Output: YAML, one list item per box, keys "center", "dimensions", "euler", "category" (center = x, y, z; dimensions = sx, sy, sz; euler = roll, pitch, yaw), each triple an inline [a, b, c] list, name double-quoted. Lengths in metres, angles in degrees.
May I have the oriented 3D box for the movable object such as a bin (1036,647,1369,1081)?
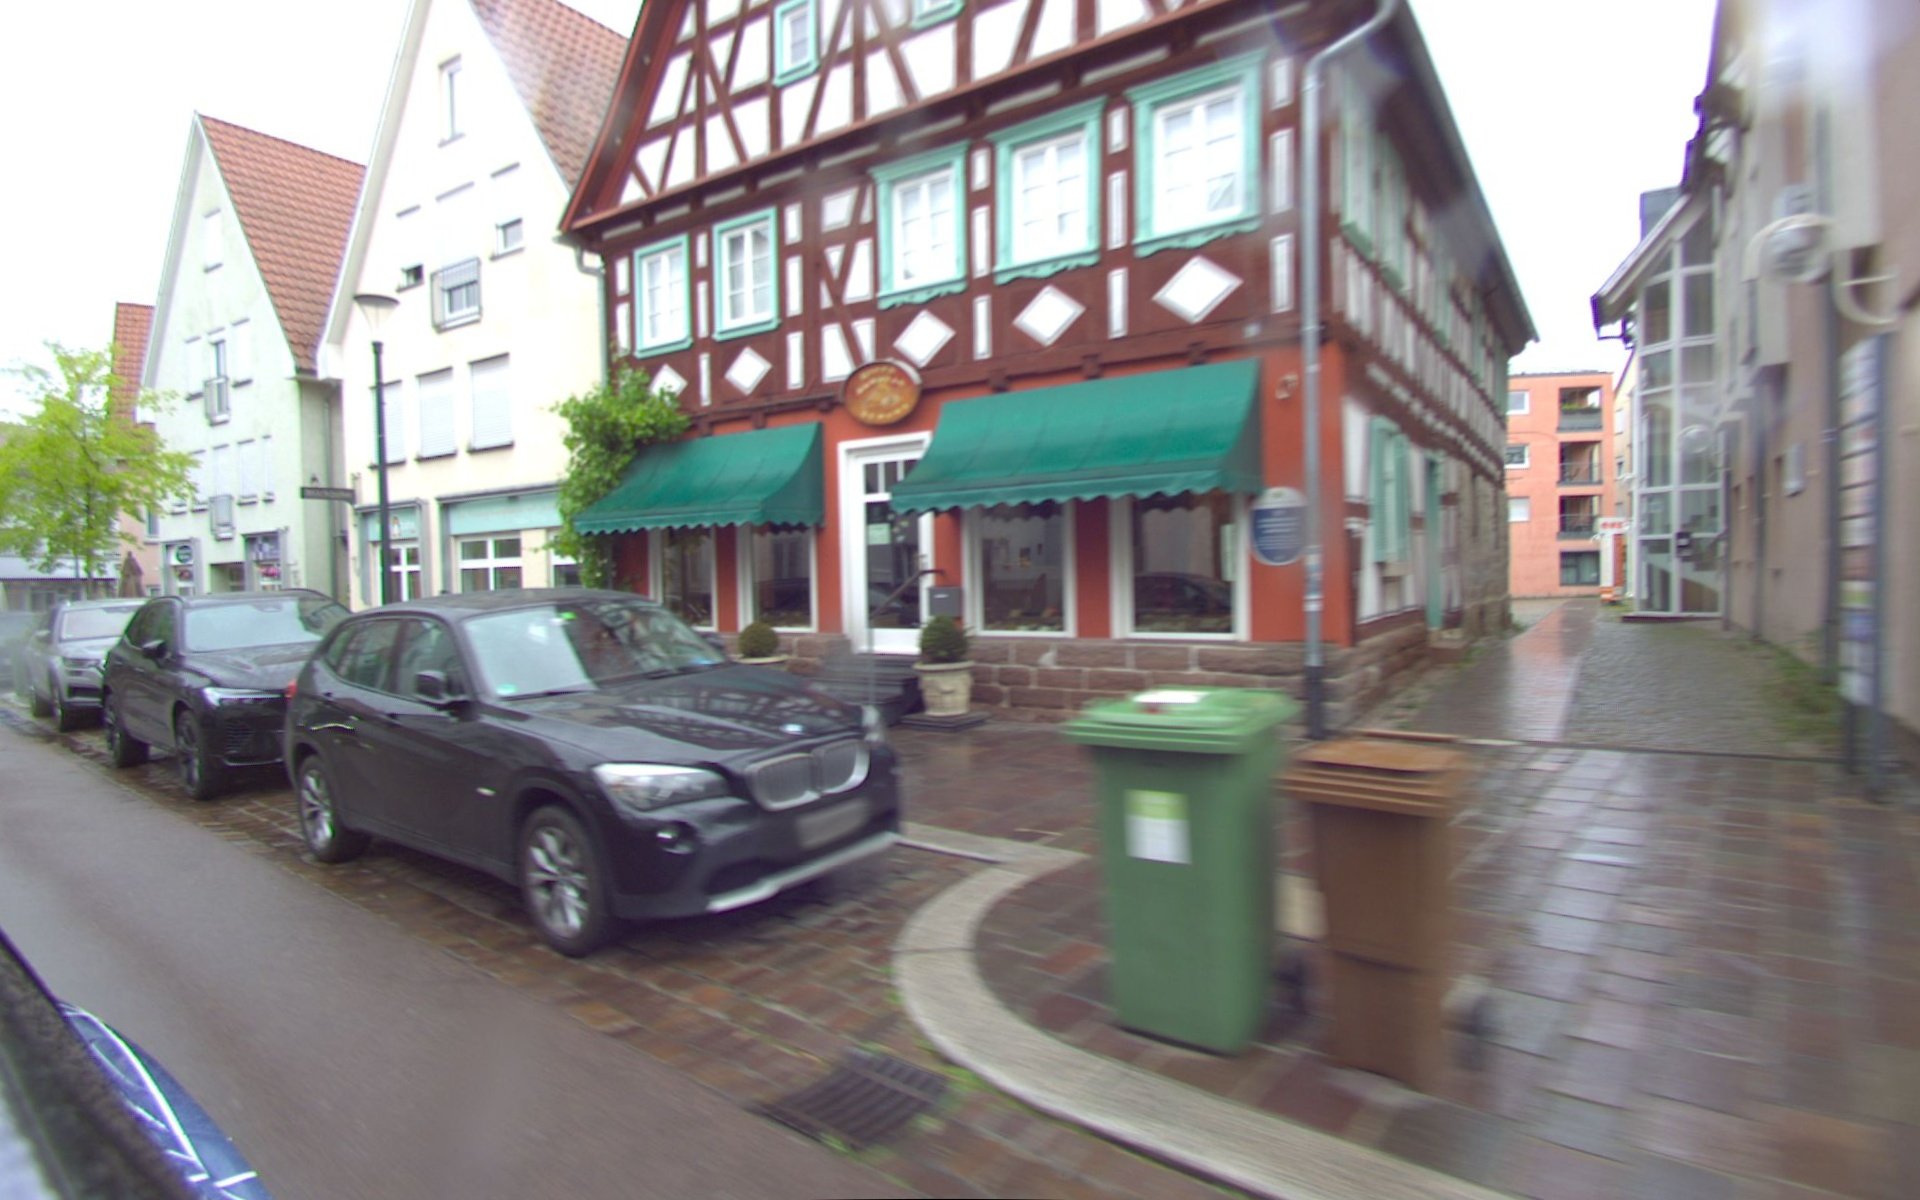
- center: [0.775, 0.728, 3.223]
  dimensions: [0.763, 1.090, 0.739]
  euler: [0, 1, 43]
  category: "movable object such as a bin"

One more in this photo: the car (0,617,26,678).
- center: [-25.250, 1.239, 25.424]
  dimensions: [4.619, 1.443, 1.785]
  euler: [-2, 0, 37]
  category: "car"

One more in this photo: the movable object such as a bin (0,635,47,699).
- center: [-16.866, 1.186, 18.174]
  dimensions: [0.725, 1.087, 0.614]
  euler: [0, 1, 43]
  category: "movable object such as a bin"

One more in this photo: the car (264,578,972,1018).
- center: [-2.155, 0.685, 5.676]
  dimensions: [4.278, 1.563, 1.815]
  euler: [0, 1, 40]
  category: "car"

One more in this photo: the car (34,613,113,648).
- center: [-48.348, 1.602, 55.316]
  dimensions: [1.666, 1.702, 4.292]
  euler: [-1, 1, -18]
  category: "car"

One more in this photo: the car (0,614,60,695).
- center: [-20.641, 1.122, 21.709]
  dimensions: [3.976, 1.557, 1.576]
  euler: [0, 1, 42]
  category: "car"

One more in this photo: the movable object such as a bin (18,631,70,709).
- center: [-15.119, 1.142, 16.703]
  dimensions: [0.523, 1.210, 0.595]
  euler: [0, 1, 44]
  category: "movable object such as a bin"

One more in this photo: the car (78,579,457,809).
- center: [-6.696, 0.670, 9.582]
  dimensions: [4.537, 1.687, 1.815]
  euler: [0, 1, 40]
  category: "car"

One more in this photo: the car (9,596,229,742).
- center: [-12.022, 0.826, 14.361]
  dimensions: [4.479, 1.687, 1.753]
  euler: [0, 3, 43]
  category: "car"

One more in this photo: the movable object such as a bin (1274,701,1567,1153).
- center: [1.282, 0.809, 2.800]
  dimensions: [0.562, 0.962, 0.649]
  euler: [0, 1, 43]
  category: "movable object such as a bin"

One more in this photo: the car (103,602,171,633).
- center: [-39.644, 0.823, 48.817]
  dimensions: [1.666, 1.433, 3.829]
  euler: [-1, 0, -25]
  category: "car"
